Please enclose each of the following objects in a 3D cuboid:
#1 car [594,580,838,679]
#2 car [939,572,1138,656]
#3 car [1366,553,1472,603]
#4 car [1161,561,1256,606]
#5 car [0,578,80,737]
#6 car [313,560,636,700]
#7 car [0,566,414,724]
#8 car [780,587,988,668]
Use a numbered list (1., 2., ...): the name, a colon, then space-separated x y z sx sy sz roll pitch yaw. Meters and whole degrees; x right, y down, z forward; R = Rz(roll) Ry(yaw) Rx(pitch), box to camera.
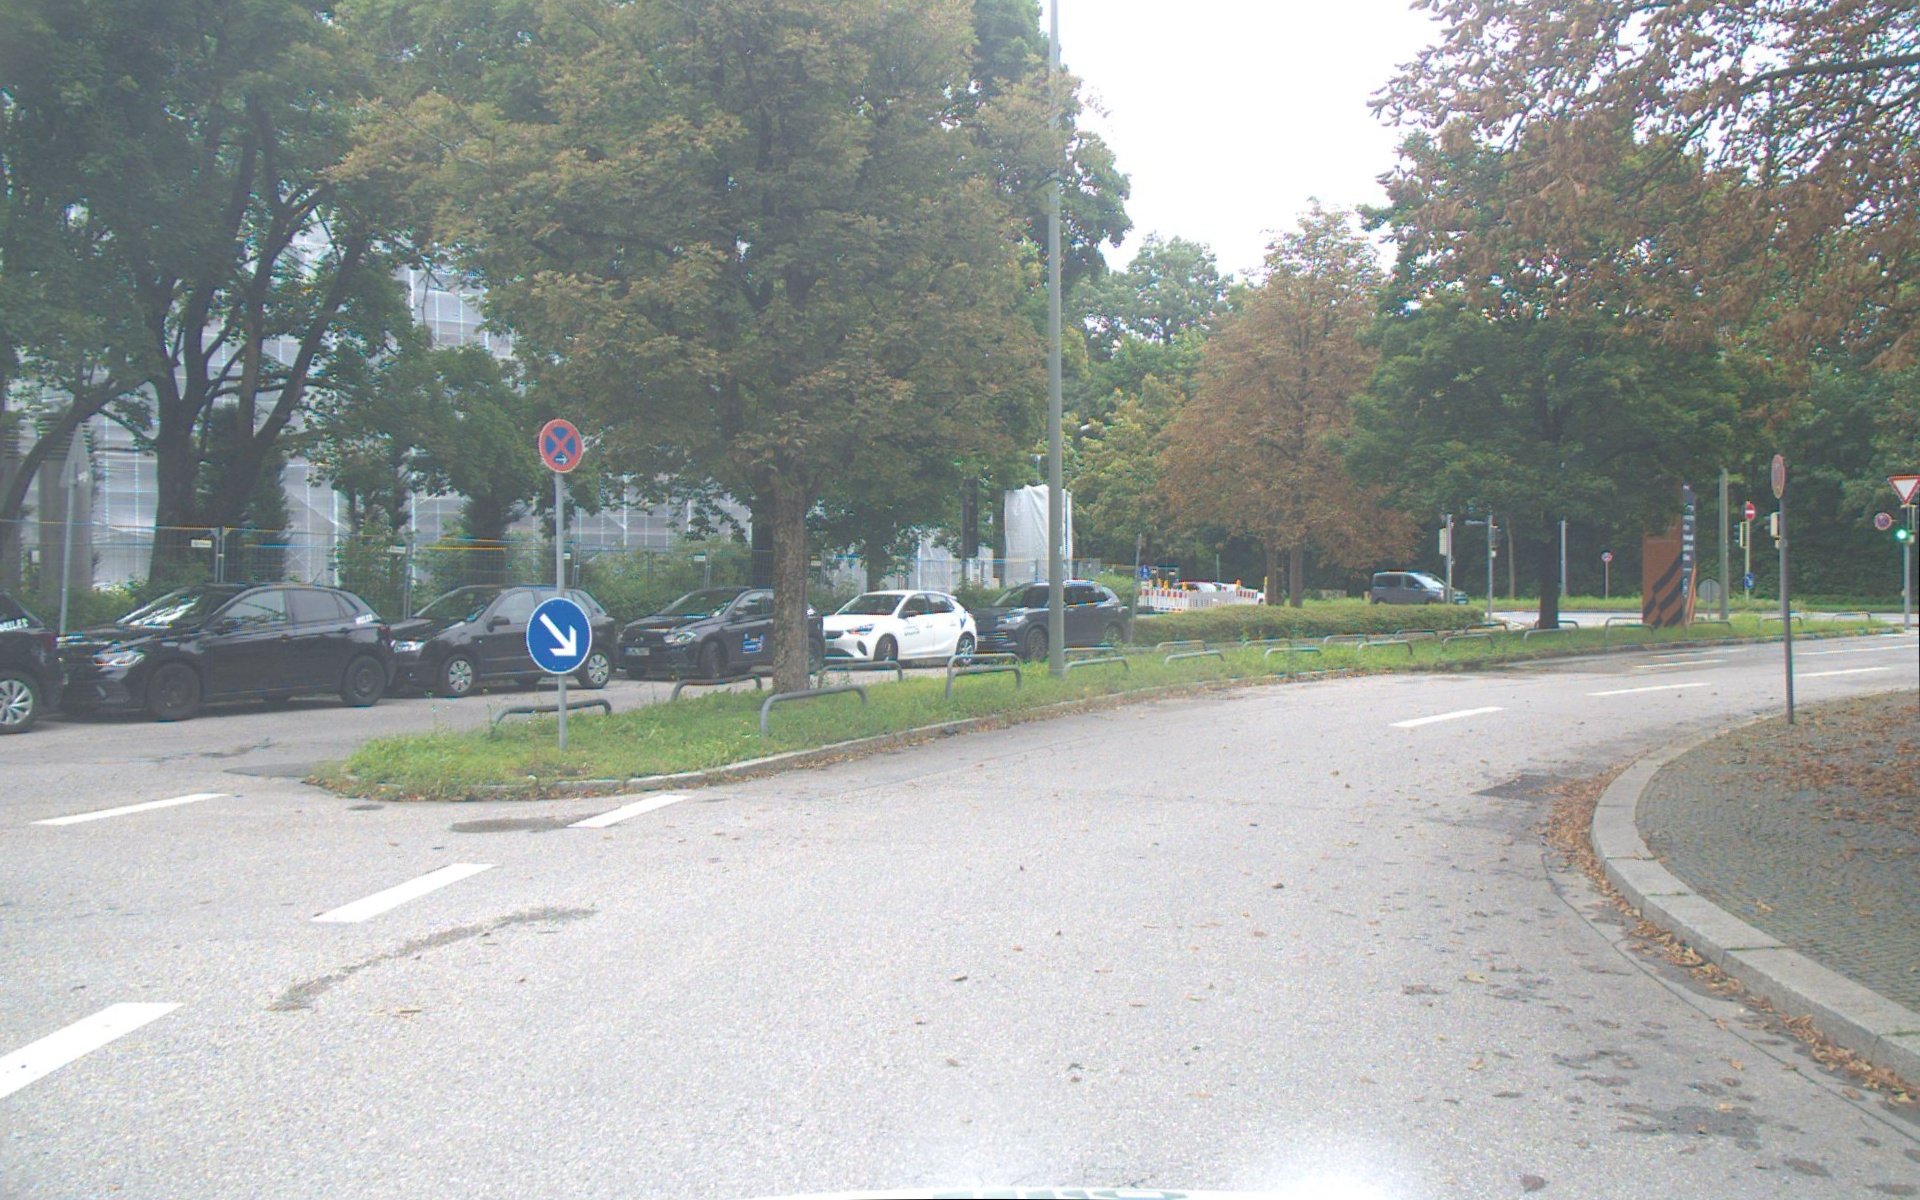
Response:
1. car: -3.864 0.439 26.820 1.800 1.486 3.997 -1 0 31
2. car: 1.706 0.324 34.581 1.858 1.634 4.370 -1 -2 42
3. car: 19.520 -0.931 70.453 1.981 2.049 3.943 0 0 -39
4. car: 11.479 -0.750 76.613 1.981 2.049 4.098 0 1 -39
5. car: -10.480 0.536 14.961 1.957 1.457 4.033 2 1 31
6. car: -6.535 0.371 22.662 1.957 1.736 3.991 -1 0 31
7. car: -8.399 0.436 18.635 1.957 1.568 3.991 0 0 31
8. car: -1.333 0.480 30.882 1.764 1.408 4.206 -1 0 33
